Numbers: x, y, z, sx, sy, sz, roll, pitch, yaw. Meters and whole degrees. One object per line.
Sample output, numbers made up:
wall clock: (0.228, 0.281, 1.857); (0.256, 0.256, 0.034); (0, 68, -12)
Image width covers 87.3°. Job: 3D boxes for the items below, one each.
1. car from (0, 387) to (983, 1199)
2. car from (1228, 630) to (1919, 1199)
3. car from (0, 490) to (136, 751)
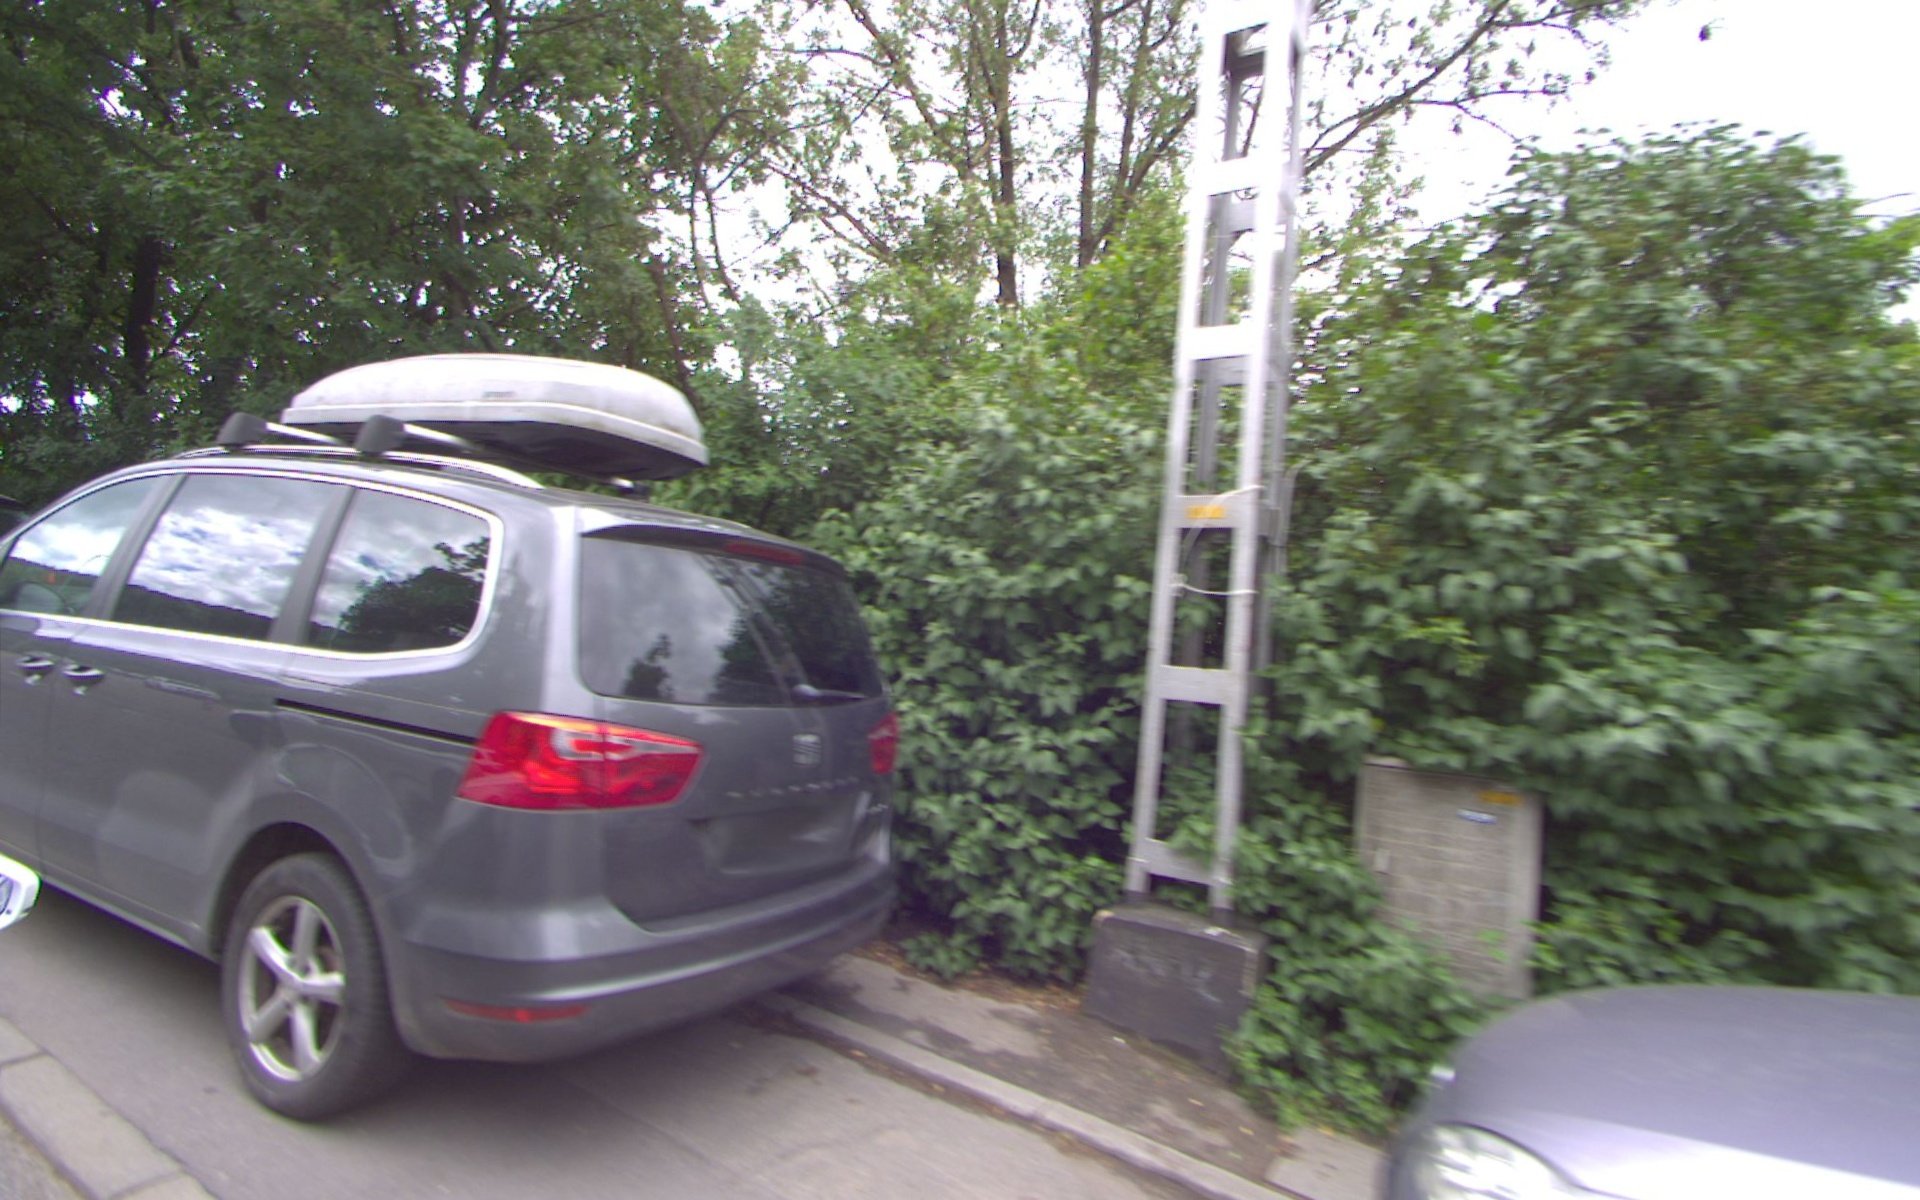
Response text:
car: (-2.426, 0.326, 3.931); (4.526, 1.792, 1.804); (7, -2, 27)
car: (2.498, 1.043, 1.102); (3.941, 1.480, 1.642); (6, -3, 38)
car: (-7.408, -0.116, 6.447); (3.963, 1.504, 1.665); (7, -2, 26)
